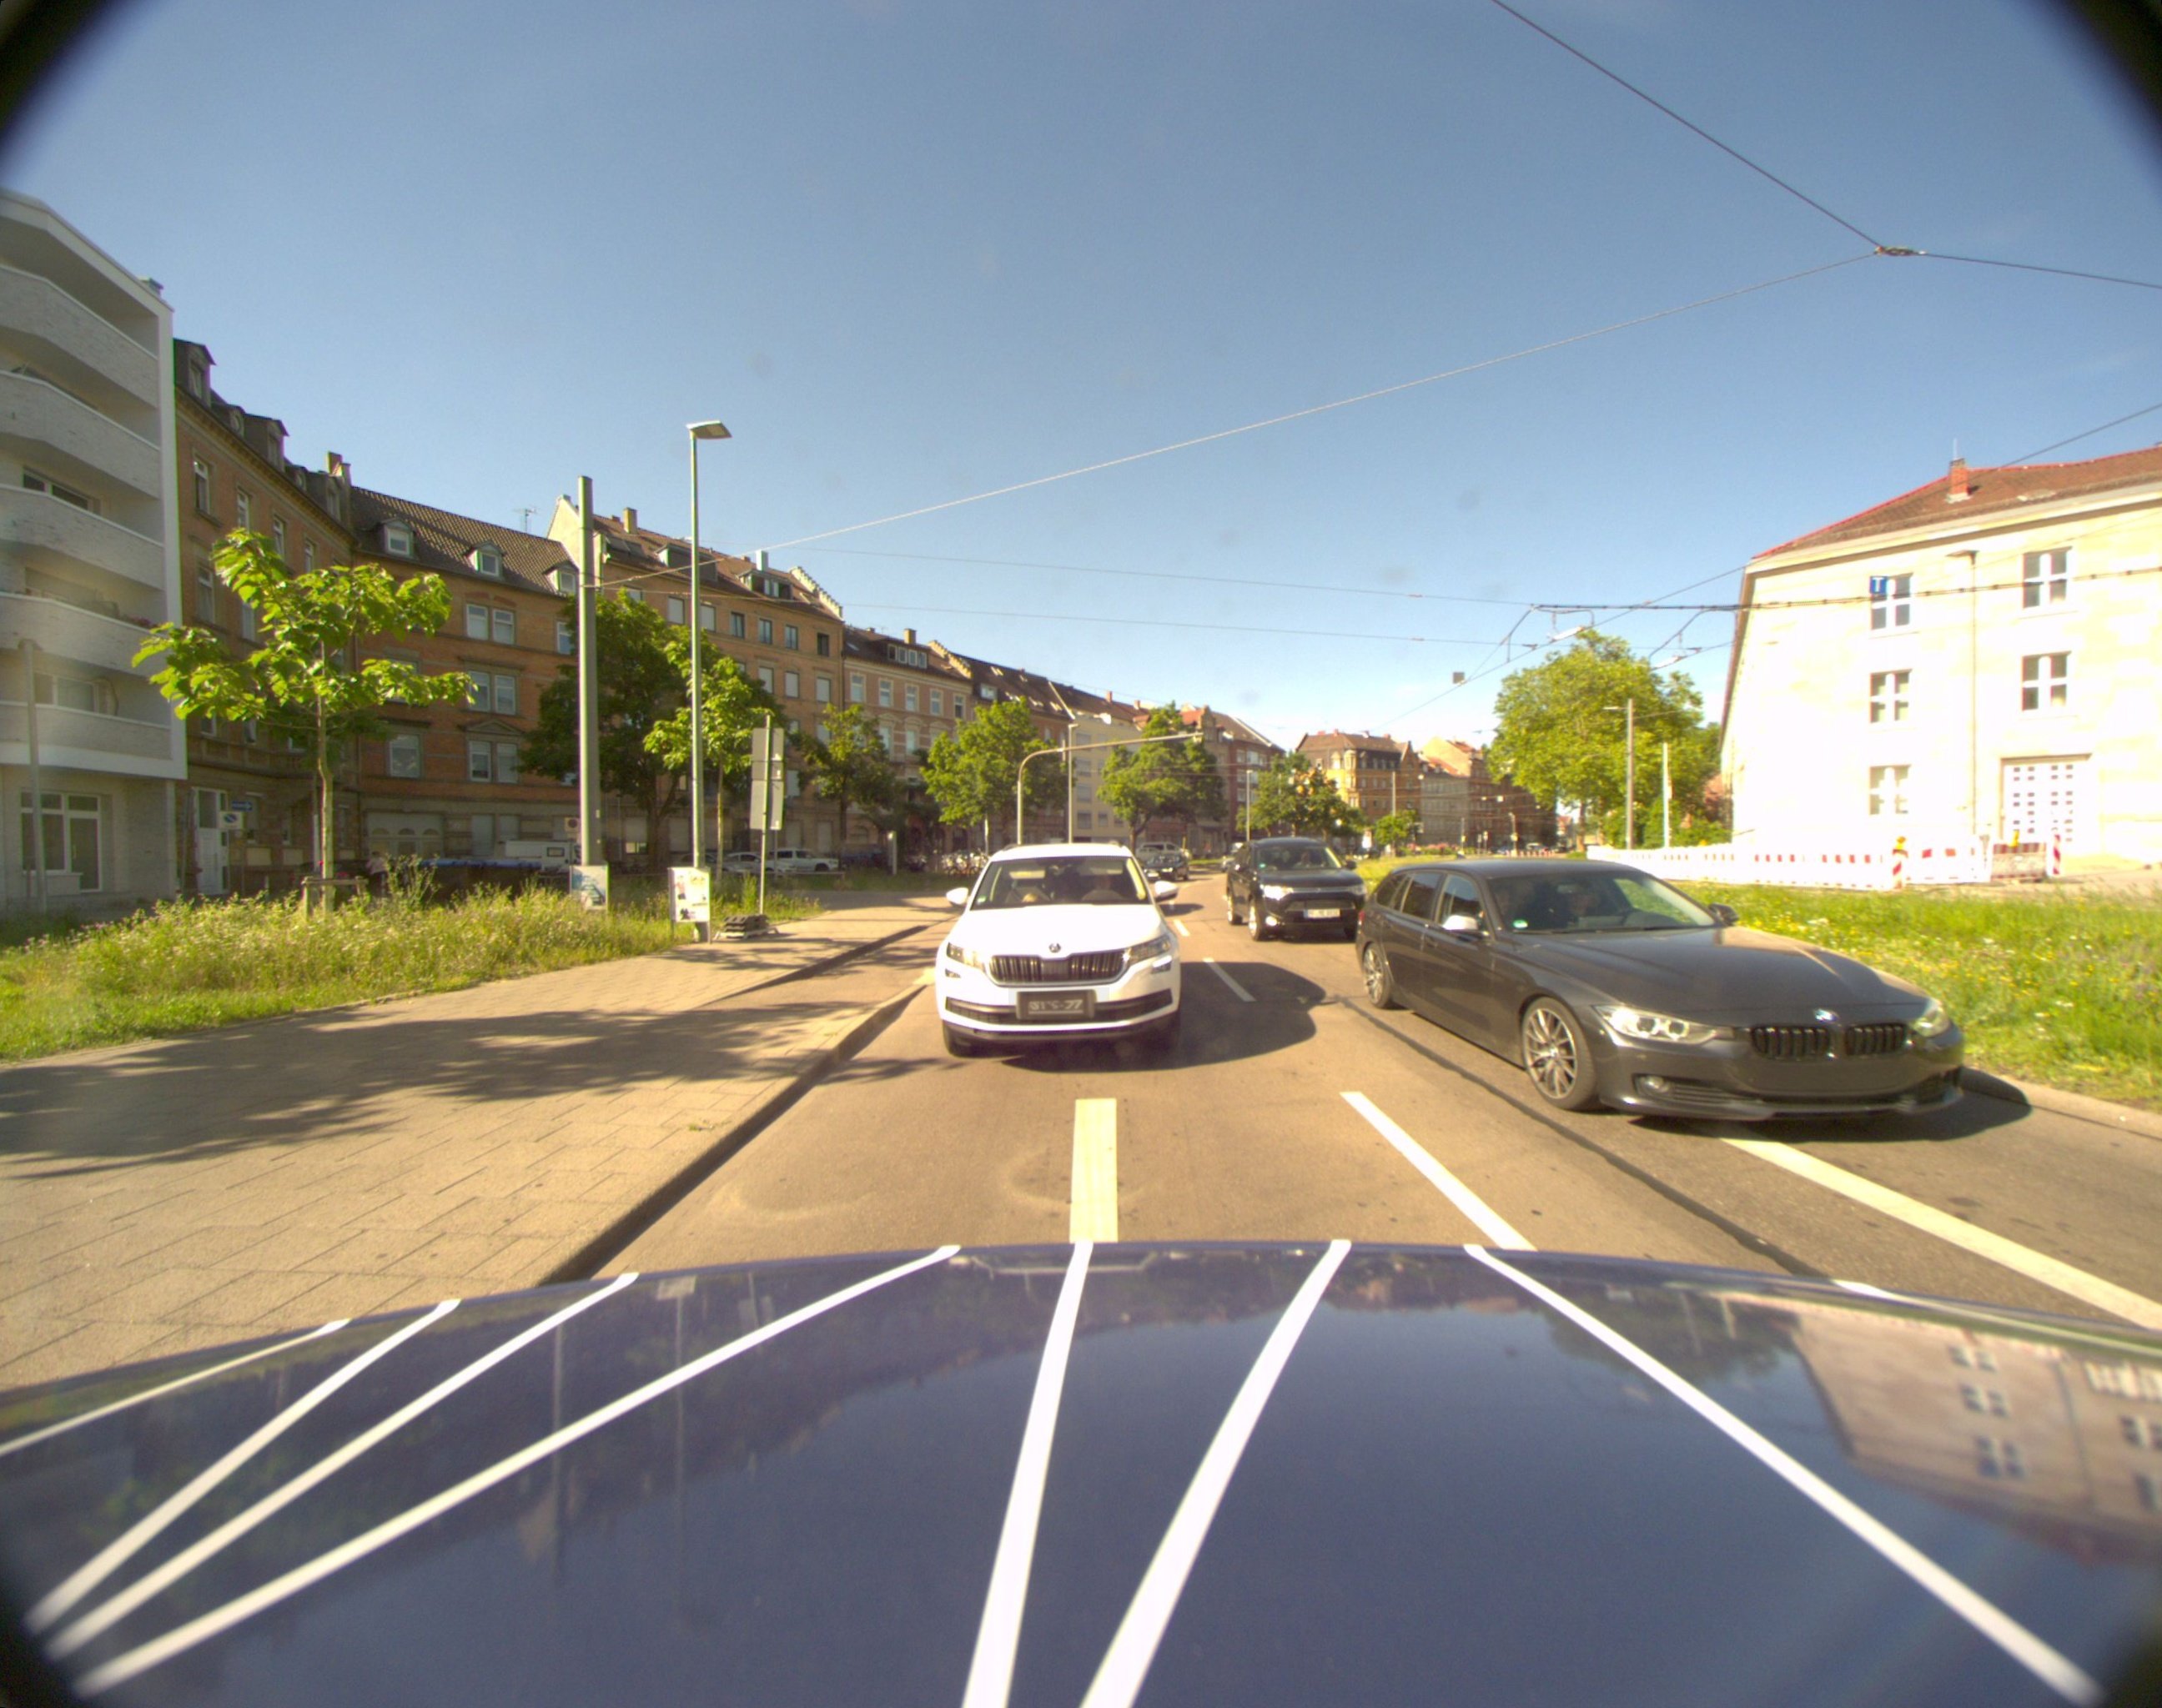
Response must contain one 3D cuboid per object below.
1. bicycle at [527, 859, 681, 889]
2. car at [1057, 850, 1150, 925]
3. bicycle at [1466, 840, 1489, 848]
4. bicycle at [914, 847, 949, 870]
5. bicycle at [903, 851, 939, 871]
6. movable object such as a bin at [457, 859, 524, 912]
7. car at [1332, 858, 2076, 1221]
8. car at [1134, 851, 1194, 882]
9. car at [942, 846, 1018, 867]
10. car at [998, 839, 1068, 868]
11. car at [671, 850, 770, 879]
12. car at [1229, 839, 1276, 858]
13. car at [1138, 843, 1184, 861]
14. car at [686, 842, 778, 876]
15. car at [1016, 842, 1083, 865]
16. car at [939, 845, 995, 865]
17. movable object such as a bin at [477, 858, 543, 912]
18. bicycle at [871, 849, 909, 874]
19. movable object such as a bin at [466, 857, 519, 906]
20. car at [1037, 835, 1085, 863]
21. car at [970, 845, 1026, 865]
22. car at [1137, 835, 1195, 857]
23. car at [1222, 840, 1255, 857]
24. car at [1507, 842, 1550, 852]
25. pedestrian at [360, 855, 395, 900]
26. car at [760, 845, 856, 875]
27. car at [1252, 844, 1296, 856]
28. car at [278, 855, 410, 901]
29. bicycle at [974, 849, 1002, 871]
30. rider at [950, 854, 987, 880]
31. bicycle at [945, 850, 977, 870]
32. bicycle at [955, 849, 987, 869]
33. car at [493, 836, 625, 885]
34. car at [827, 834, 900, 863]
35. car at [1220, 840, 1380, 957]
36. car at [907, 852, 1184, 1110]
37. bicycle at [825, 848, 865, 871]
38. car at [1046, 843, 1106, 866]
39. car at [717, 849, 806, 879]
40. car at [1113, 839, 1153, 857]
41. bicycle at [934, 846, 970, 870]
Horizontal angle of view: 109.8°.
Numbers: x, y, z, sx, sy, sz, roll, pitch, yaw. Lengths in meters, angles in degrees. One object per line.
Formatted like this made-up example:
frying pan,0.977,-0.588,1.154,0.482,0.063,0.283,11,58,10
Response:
bicycle,-21.443,0.851,34.374,2.676,1.120,5.232,0,1,34
car,0.593,0.721,18.678,1.998,1.608,4.264,-1,1,3
bicycle,72.450,-1.813,138.880,1.964,1.408,6.841,2,2,43
bicycle,-9.072,0.288,45.964,2.094,1.357,0.789,-1,1,34
bicycle,-9.547,0.396,45.193,2.163,1.152,0.824,-1,1,35
movable object such as a bin,-16.437,0.843,21.193,1.323,1.390,1.108,-1,1,-31
car,3.451,0.825,5.537,1.738,1.415,4.467,-4,1,1
car,4.305,0.606,38.760,1.886,1.419,4.383,-1,1,22
car,-6.811,0.154,51.412,4.747,1.372,2.047,-1,1,5
car,-3.545,-0.032,56.324,4.874,2.002,2.101,1,2,5
car,-17.489,0.512,36.911,4.049,1.329,1.841,-1,1,14
car,19.142,-0.596,84.852,4.875,2.063,2.021,1,1,4
car,7.144,-0.216,68.216,4.025,1.470,1.813,1,2,5
car,-21.398,0.292,46.711,1.994,1.966,4.734,2,1,39
car,-2.432,-0.023,59.013,4.872,1.639,2.102,1,2,10
car,-9.362,0.055,62.815,1.994,1.520,4.522,2,1,35
movable object such as a bin,-15.392,0.814,20.529,1.306,1.390,1.069,-1,1,-31
bicycle,-10.874,0.435,43.188,2.094,1.390,0.789,-1,1,28
movable object such as a bin,-17.205,0.783,22.243,1.092,1.390,1.029,-1,1,-31
car,-1.906,-0.460,71.985,1.994,2.570,4.522,2,2,40
car,-5.852,0.071,54.034,3.610,1.372,1.926,-1,1,5
car,7.931,-0.761,70.896,5.179,2.002,2.102,1,2,10
car,20.427,-0.700,98.534,1.997,1.464,4.496,-15,-5,41
car,63.978,-0.984,108.616,4.946,1.445,1.839,1,2,42
pedestrian,-24.653,0.811,26.643,0.641,1.568,0.773,0,2,39
car,-14.796,0.320,41.310,4.464,1.556,1.939,-1,1,8
car,22.938,-0.491,90.546,4.874,1.427,2.021,1,1,6
car,-25.871,0.792,26.878,2.002,1.428,4.099,-2,1,-24
bicycle,-5.603,0.349,45.776,1.598,1.283,0.769,0,1,-11
rider,-5.446,0.601,36.700,1.678,1.169,0.502,-3,2,-34
bicycle,-7.390,0.339,46.624,1.957,1.185,0.843,2,2,39
bicycle,-6.861,0.321,47.385,1.945,1.174,0.902,2,2,38
car,-26.946,0.272,39.361,2.349,2.344,5.199,2,2,40
car,-15.475,-0.376,54.212,1.994,1.966,4.734,2,1,38
car,3.643,0.642,13.523,1.840,1.672,4.644,-2,0,5
car,-0.189,0.840,7.210,1.801,1.626,4.393,-1,1,1
bicycle,-14.063,0.321,45.378,2.099,1.357,0.787,-1,1,-2
car,-0.380,0.010,61.427,4.505,1.718,2.001,1,2,10
car,-16.374,0.506,39.040,3.838,1.433,1.761,-1,1,8
car,5.603,-0.624,81.218,1.994,1.789,4.636,2,1,38
bicycle,-7.521,0.229,44.249,2.094,1.357,0.789,0,1,34
